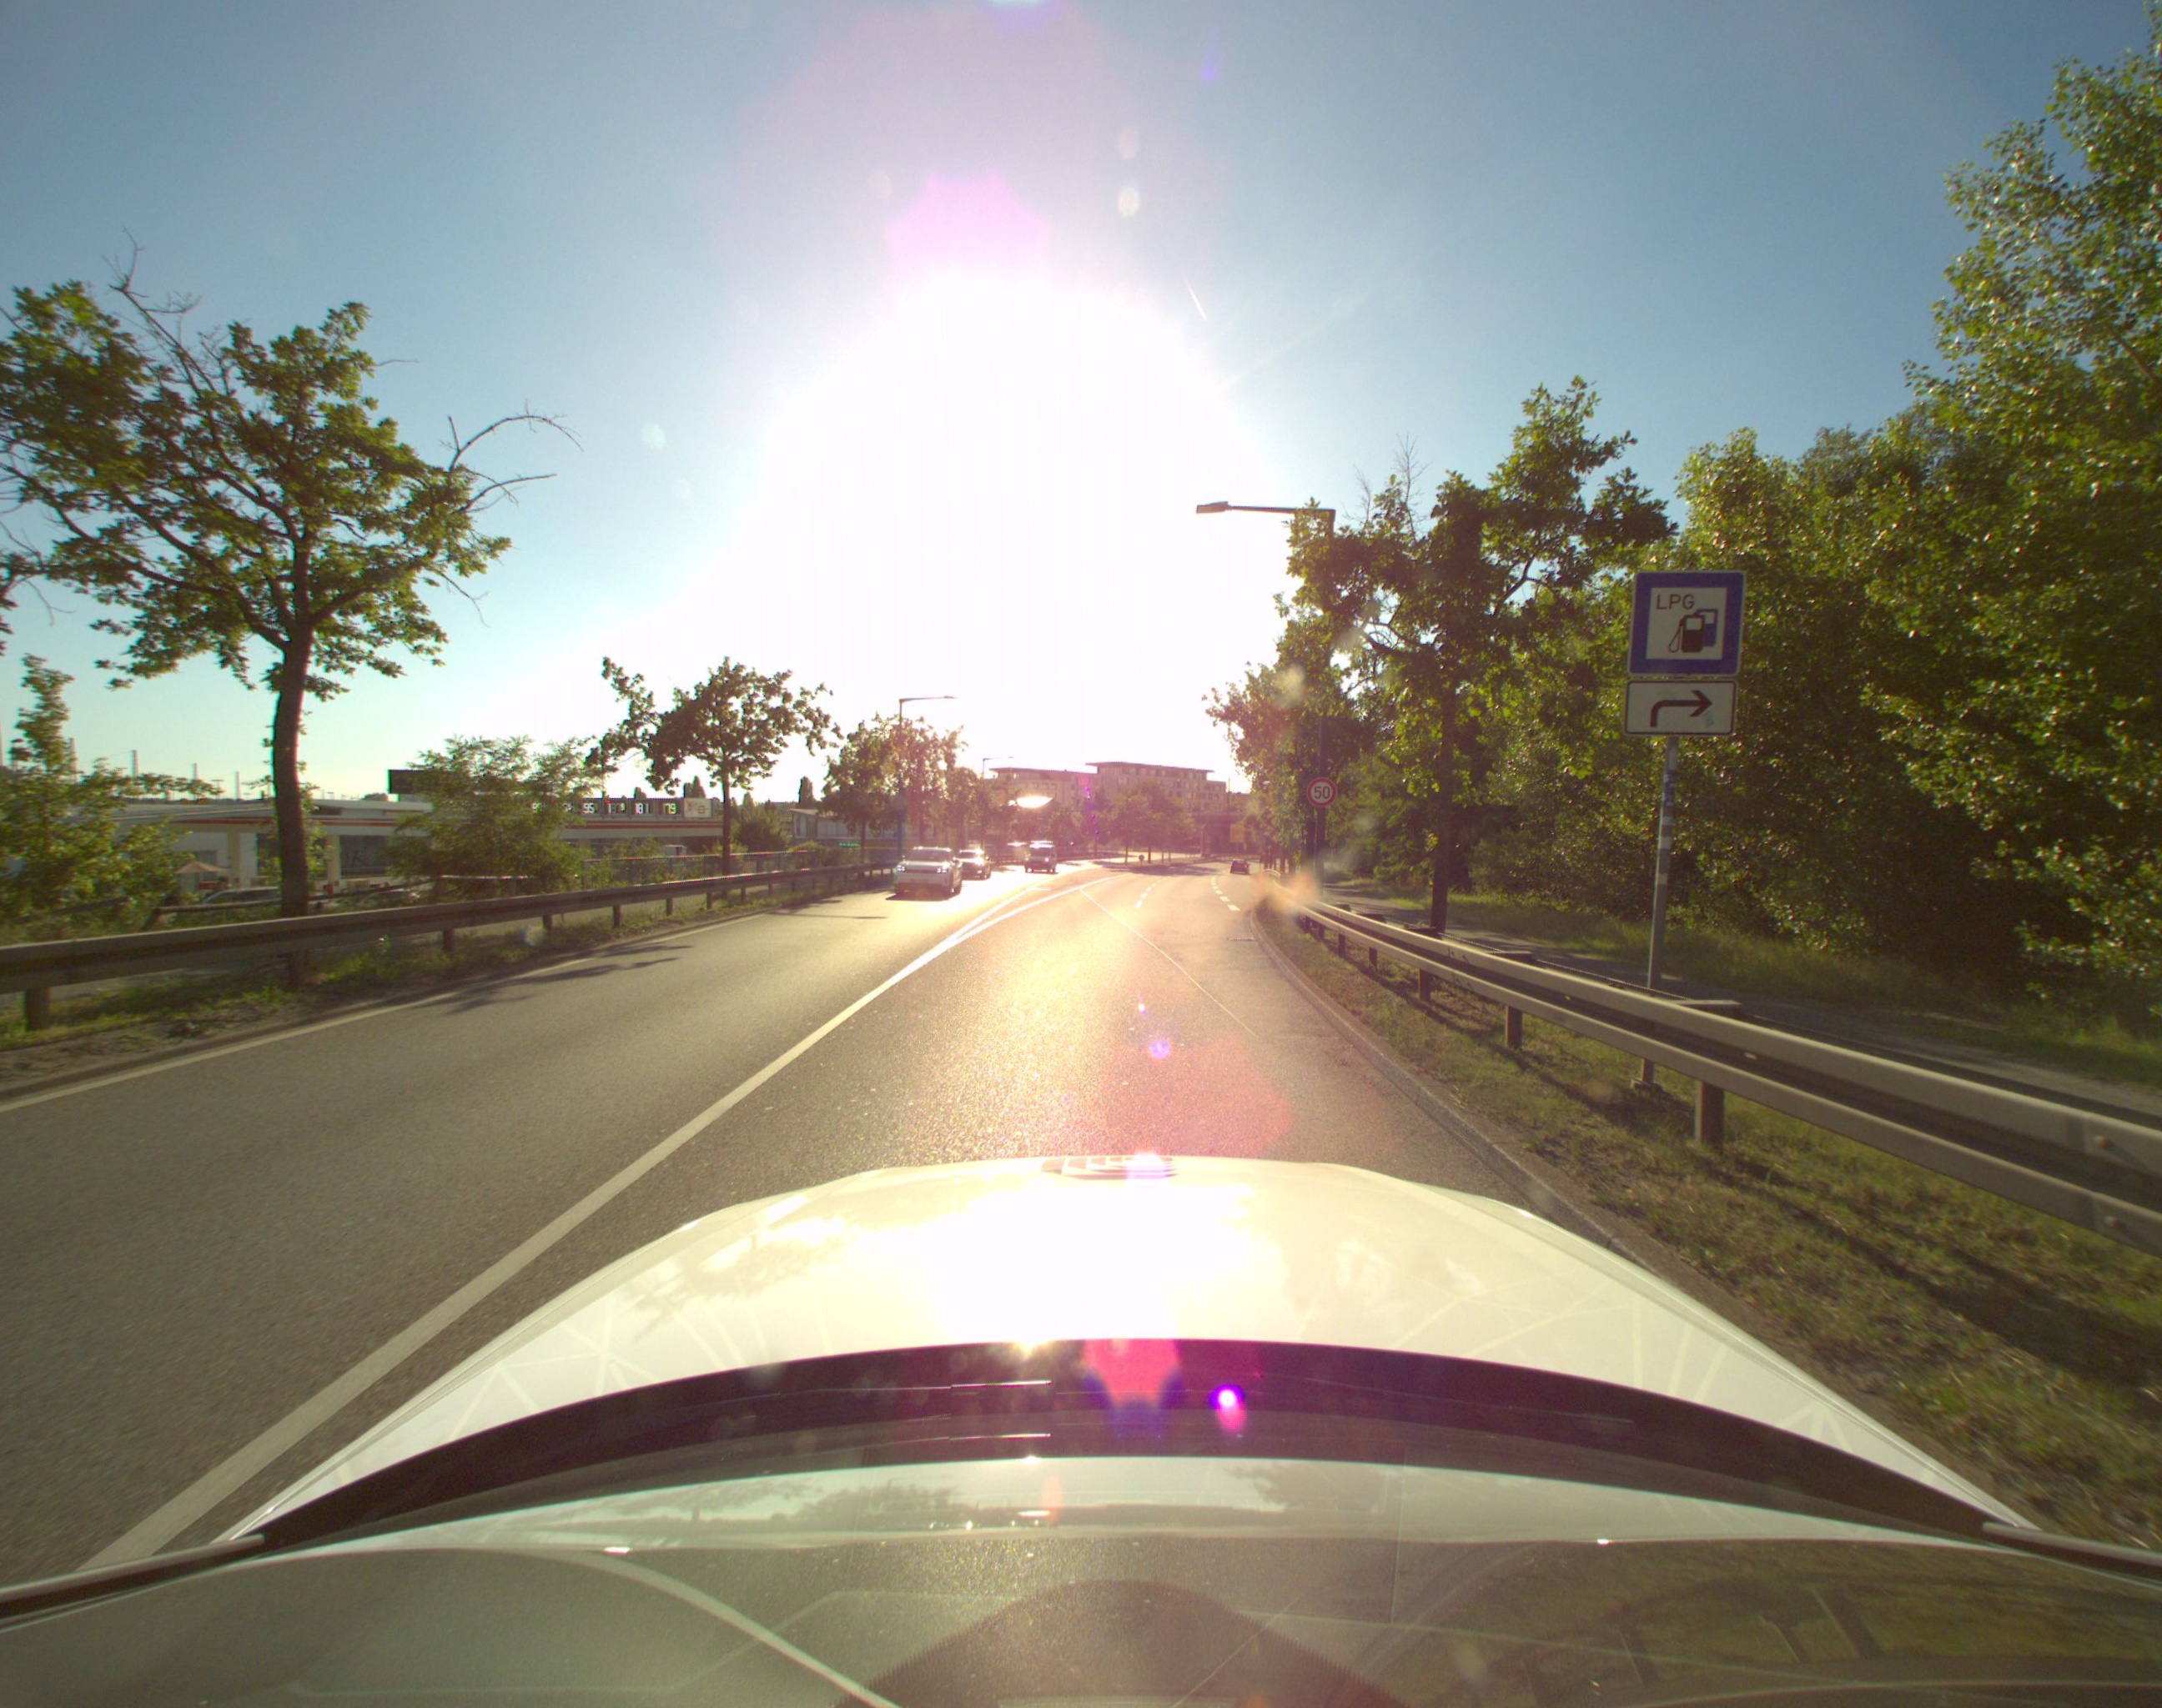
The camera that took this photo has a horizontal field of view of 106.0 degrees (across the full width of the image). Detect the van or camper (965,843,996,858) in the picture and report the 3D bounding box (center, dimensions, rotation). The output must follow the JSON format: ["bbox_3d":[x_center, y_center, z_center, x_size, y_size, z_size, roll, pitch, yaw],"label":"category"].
[{"bbox_3d":[-13.482,-0.485,108.891,2.011,1.926,4.179,2,0,-42],"label":"van or camper"}]

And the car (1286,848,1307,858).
[{"bbox_3d":[36.797,-0.161,139.074,1.812,1.738,4.490,2,2,37],"label":"car"}]

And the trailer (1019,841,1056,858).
[{"bbox_3d":[-5.262,-0.606,100.428,2.401,1.969,6.635,2,1,17],"label":"trailer"}]

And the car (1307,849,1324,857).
[{"bbox_3d":[41.930,-0.211,145.537,1.823,1.440,3.699,-1,0,36],"label":"car"}]

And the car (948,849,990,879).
[{"bbox_3d":[-5.801,0.492,42.701,1.768,1.465,4.378,2,0,-3],"label":"car"}]

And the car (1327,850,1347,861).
[{"bbox_3d":[42.309,0.240,134.580,1.724,1.454,4.635,3,4,37],"label":"car"}]

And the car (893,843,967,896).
[{"bbox_3d":[-5.143,0.532,28.328,1.823,1.589,4.643,4,-1,-3],"label":"car"}]

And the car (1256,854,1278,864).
[{"bbox_3d":[26.832,0.742,117.408,1.567,1.408,3.856,3,2,35],"label":"car"}]

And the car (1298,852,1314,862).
[{"bbox_3d":[36.885,0.491,133.455,1.532,1.423,3.439,-1,0,35],"label":"car"}]

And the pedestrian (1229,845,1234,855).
[{"bbox_3d":[30.194,-0.835,163.882,0.687,1.903,0.669,3,2,41],"label":"pedestrian"}]

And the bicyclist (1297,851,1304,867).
[{"bbox_3d":[25.723,0.575,95.454,0.677,1.906,0.836,2,1,14],"label":"bicyclist"}]

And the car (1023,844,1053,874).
[{"bbox_3d":[-3.042,0.328,58.147,1.872,2.013,5.258,1,0,0],"label":"car"}]

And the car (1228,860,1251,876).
[{"bbox_3d":[16.238,1.444,83.369,1.979,1.508,4.016,-1,0,15],"label":"car"}]

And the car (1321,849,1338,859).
[{"bbox_3d":[45.837,0.033,150.386,1.823,1.719,4.025,-1,0,34],"label":"car"}]

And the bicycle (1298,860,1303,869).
[{"bbox_3d":[25.698,1.170,95.406,0.574,0.963,2.898,2,1,14],"label":"bicycle"}]

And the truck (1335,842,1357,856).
[{"bbox_3d":[50.827,-0.945,156.087,2.009,2.556,5.572,3,2,40],"label":"truck"}]
